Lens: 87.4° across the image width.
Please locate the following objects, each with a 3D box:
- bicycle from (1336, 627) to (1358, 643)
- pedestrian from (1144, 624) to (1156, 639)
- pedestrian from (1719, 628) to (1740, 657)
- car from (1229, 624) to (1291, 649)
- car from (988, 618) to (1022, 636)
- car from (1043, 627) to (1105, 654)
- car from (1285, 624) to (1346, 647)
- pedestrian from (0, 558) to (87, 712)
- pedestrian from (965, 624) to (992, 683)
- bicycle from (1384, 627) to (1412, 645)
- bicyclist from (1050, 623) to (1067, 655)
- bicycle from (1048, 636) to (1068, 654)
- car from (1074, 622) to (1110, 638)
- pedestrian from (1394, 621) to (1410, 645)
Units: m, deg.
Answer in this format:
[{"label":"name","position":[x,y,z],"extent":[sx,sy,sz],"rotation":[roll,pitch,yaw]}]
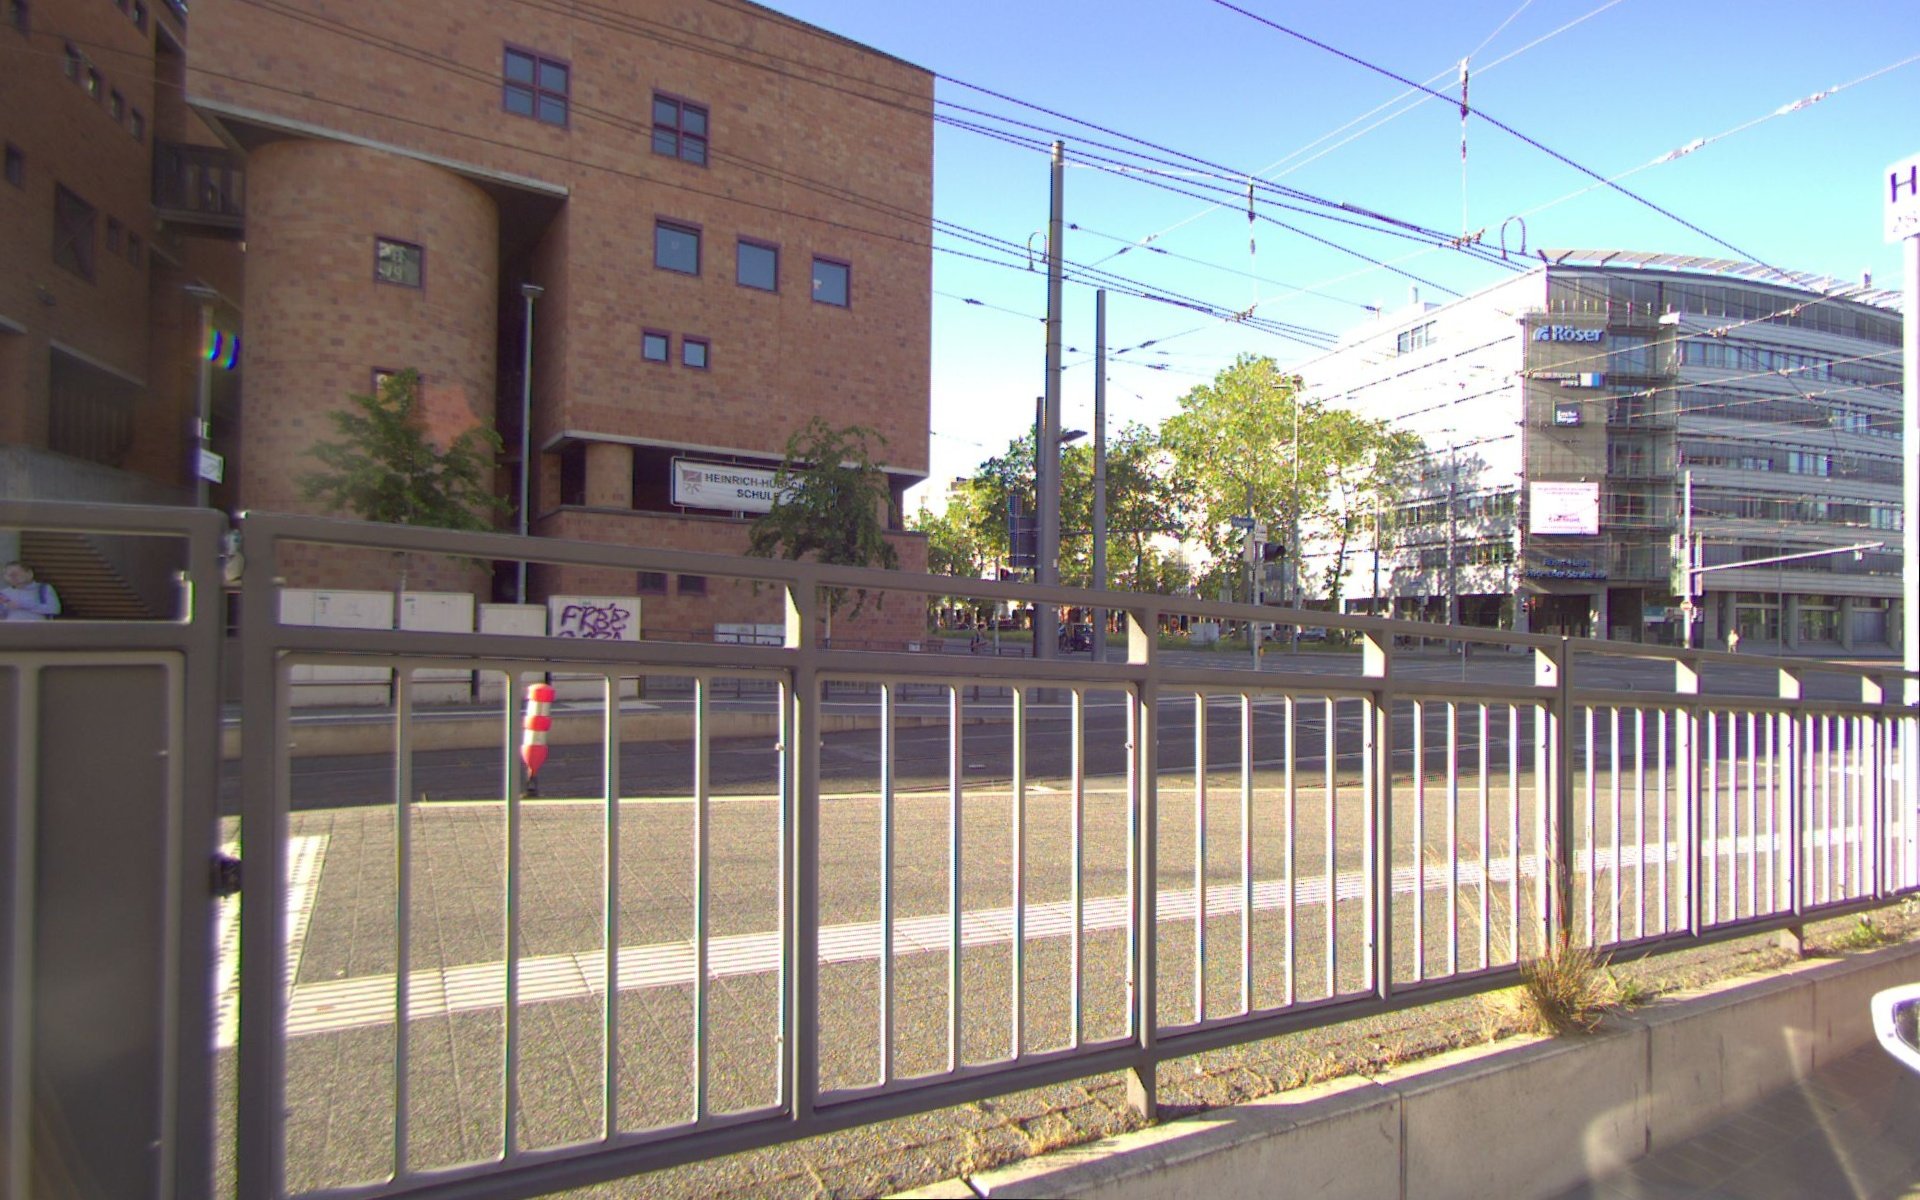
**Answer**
[{"label":"bicycle","position":[30.538,2.757,79.295],"extent":[1.812,1.167,0.467],"rotation":[0,0,-23]},{"label":"pedestrian","position":[20.714,3.435,109.409],"extent":[0.860,1.567,0.989],"rotation":[1,-1,-22]},{"label":"pedestrian","position":[49.478,2.760,64.620],"extent":[0.871,1.847,0.675],"rotation":[1,-2,-17]},{"label":"car","position":[24.184,2.941,81.228],"extent":[1.904,1.868,4.889],"rotation":[-1,0,-28]},{"label":"car","position":[5.266,3.132,117.568],"extent":[2.011,2.003,4.382],"rotation":[0,-1,-29]},{"label":"car","position":[6.451,2.285,57.097],"extent":[1.637,1.346,3.591],"rotation":[2,0,-31]},{"label":"car","position":[27.084,2.683,76.705],"extent":[1.840,1.594,4.387],"rotation":[-1,0,-25]},{"label":"pedestrian","position":[-9.691,0.358,10.560],"extent":[0.647,1.555,0.696],"rotation":[1,-1,-33]},{"label":"pedestrian","position":[0.522,1.498,28.267],"extent":[0.501,1.639,0.504],"rotation":[2,0,-40]},{"label":"bicycle","position":[30.768,2.502,70.544],"extent":[0.605,1.179,1.835],"rotation":[-2,2,-27]},{"label":"bicyclist","position":[5.192,2.032,52.842],"extent":[0.614,1.643,0.811],"rotation":[1,-1,-17]},{"label":"bicycle","position":[5.153,2.352,52.877],"extent":[0.528,0.925,1.564],"rotation":[1,-1,-15]},{"label":"car","position":[13.435,3.043,102.214],"extent":[1.840,1.660,3.844],"rotation":[1,-1,-25]},{"label":"pedestrian","position":[31.142,2.288,70.721],"extent":[0.598,1.633,0.832],"rotation":[-2,2,-26]}]
